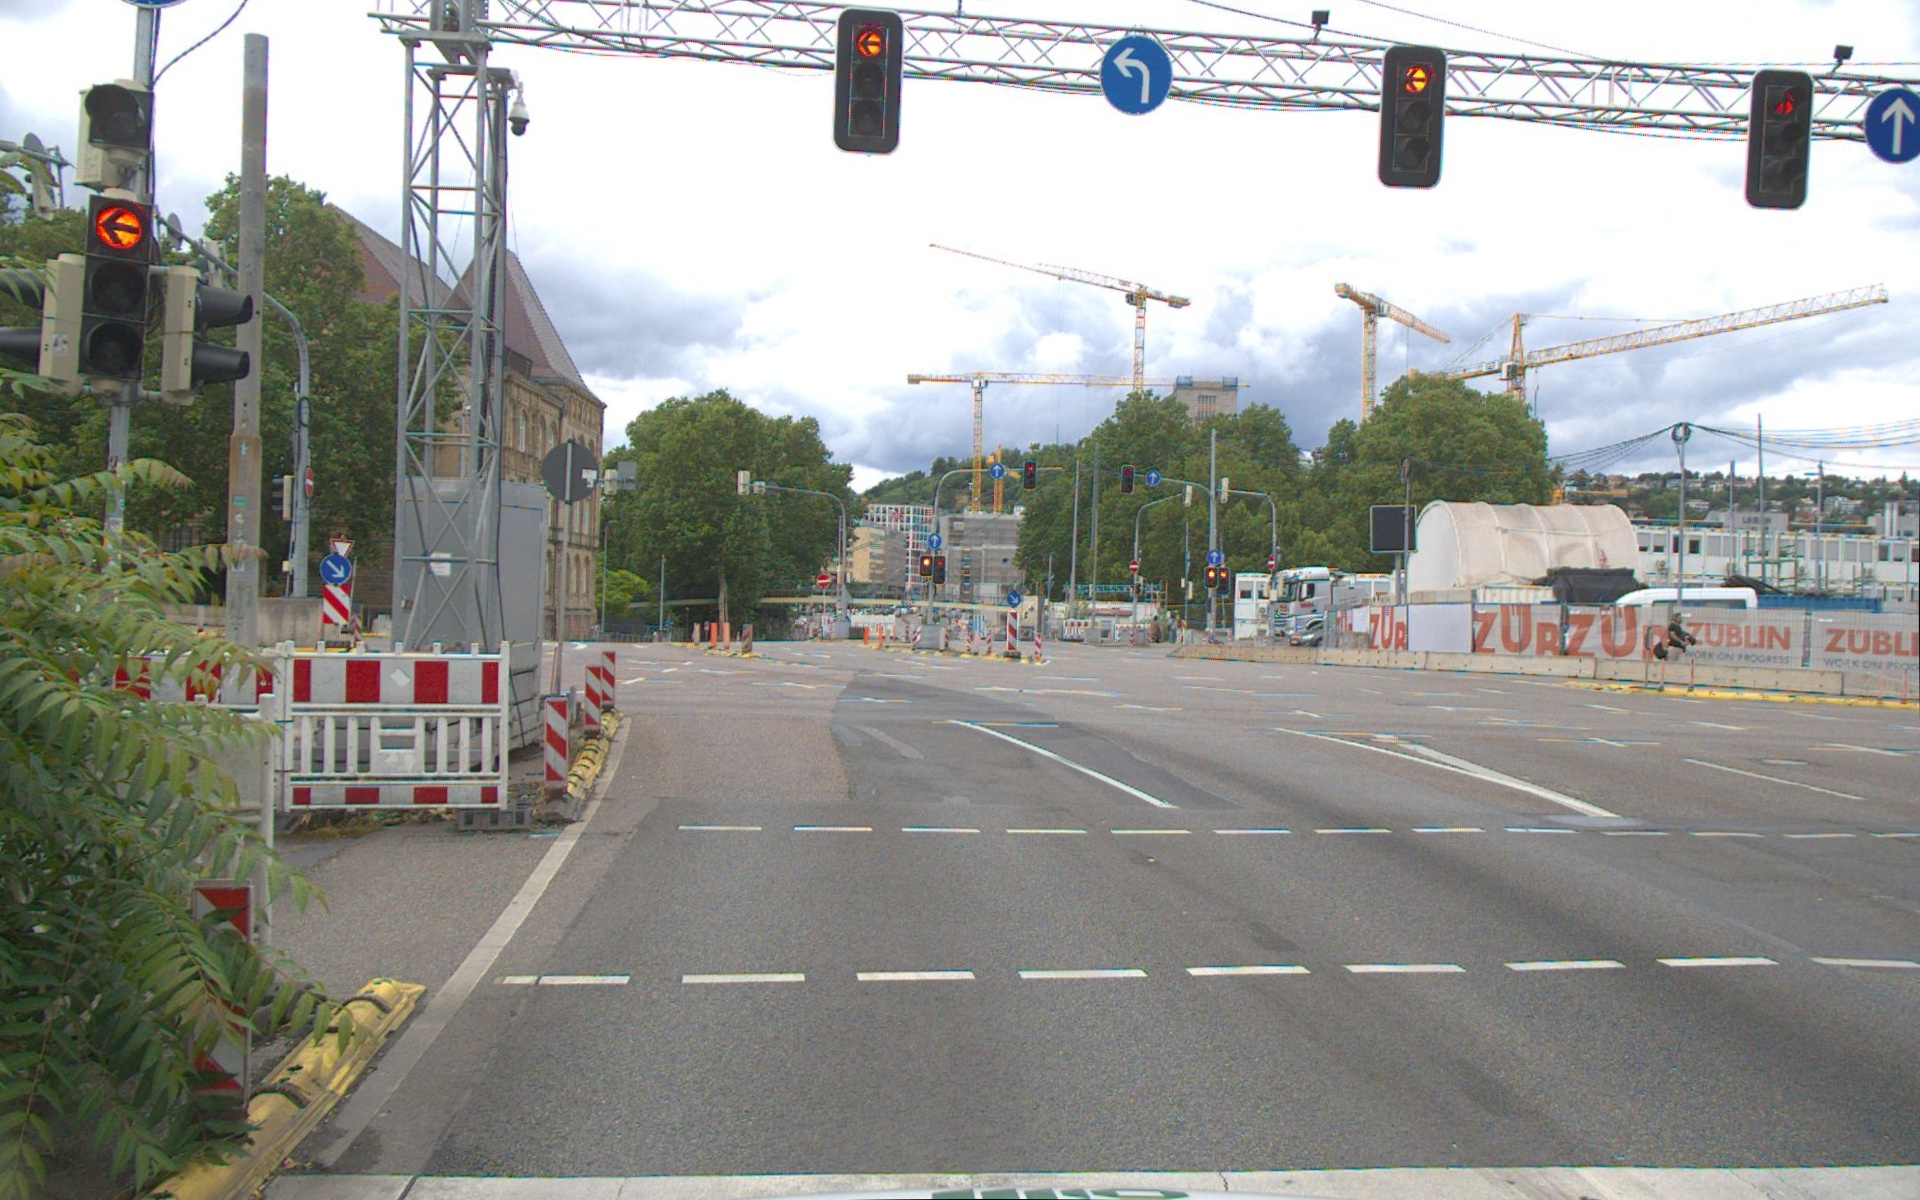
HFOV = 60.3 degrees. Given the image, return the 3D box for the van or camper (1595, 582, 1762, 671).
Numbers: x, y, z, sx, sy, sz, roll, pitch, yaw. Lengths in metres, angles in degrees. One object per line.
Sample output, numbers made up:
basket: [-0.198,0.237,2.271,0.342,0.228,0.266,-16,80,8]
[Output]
van or camper: [20.733,0.740,47.918,4.123,2.398,2.002,1,0,14]

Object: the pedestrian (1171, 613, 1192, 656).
pedestrian: [9.070,1.401,67.628,0.714,1.718,0.677,2,0,-1]

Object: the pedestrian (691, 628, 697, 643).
pedestrian: [-28.377,3.765,176.591,0.525,1.620,0.515,1,0,-5]

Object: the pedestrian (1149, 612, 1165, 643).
pedestrian: [10.913,1.526,91.690,0.714,1.718,0.677,2,0,-1]

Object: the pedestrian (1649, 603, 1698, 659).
pedestrian: [18.369,0.799,42.577,0.791,1.402,0.892,2,0,-39]

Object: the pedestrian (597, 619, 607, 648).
pedestrian: [-26.022,2.426,120.218,0.513,2.049,0.566,1,0,-1]

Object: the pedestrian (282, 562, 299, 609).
pedestrian: [-29.488,-0.620,72.846,0.523,2.049,0.421,2,0,-44]

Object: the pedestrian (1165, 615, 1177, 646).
pedestrian: [11.723,1.676,91.770,0.555,1.718,0.471,2,0,-1]

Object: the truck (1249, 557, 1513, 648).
truck: [21.003,0.160,82.327,12.837,4.111,3.927,1,0,-21]

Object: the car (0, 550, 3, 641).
car: [-19.704,-0.128,29.358,4.239,1.705,1.993,2,0,-14]

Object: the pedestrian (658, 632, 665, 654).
pedestrian: [-27.742,3.978,153.889,0.513,2.049,0.566,1,0,-1]
